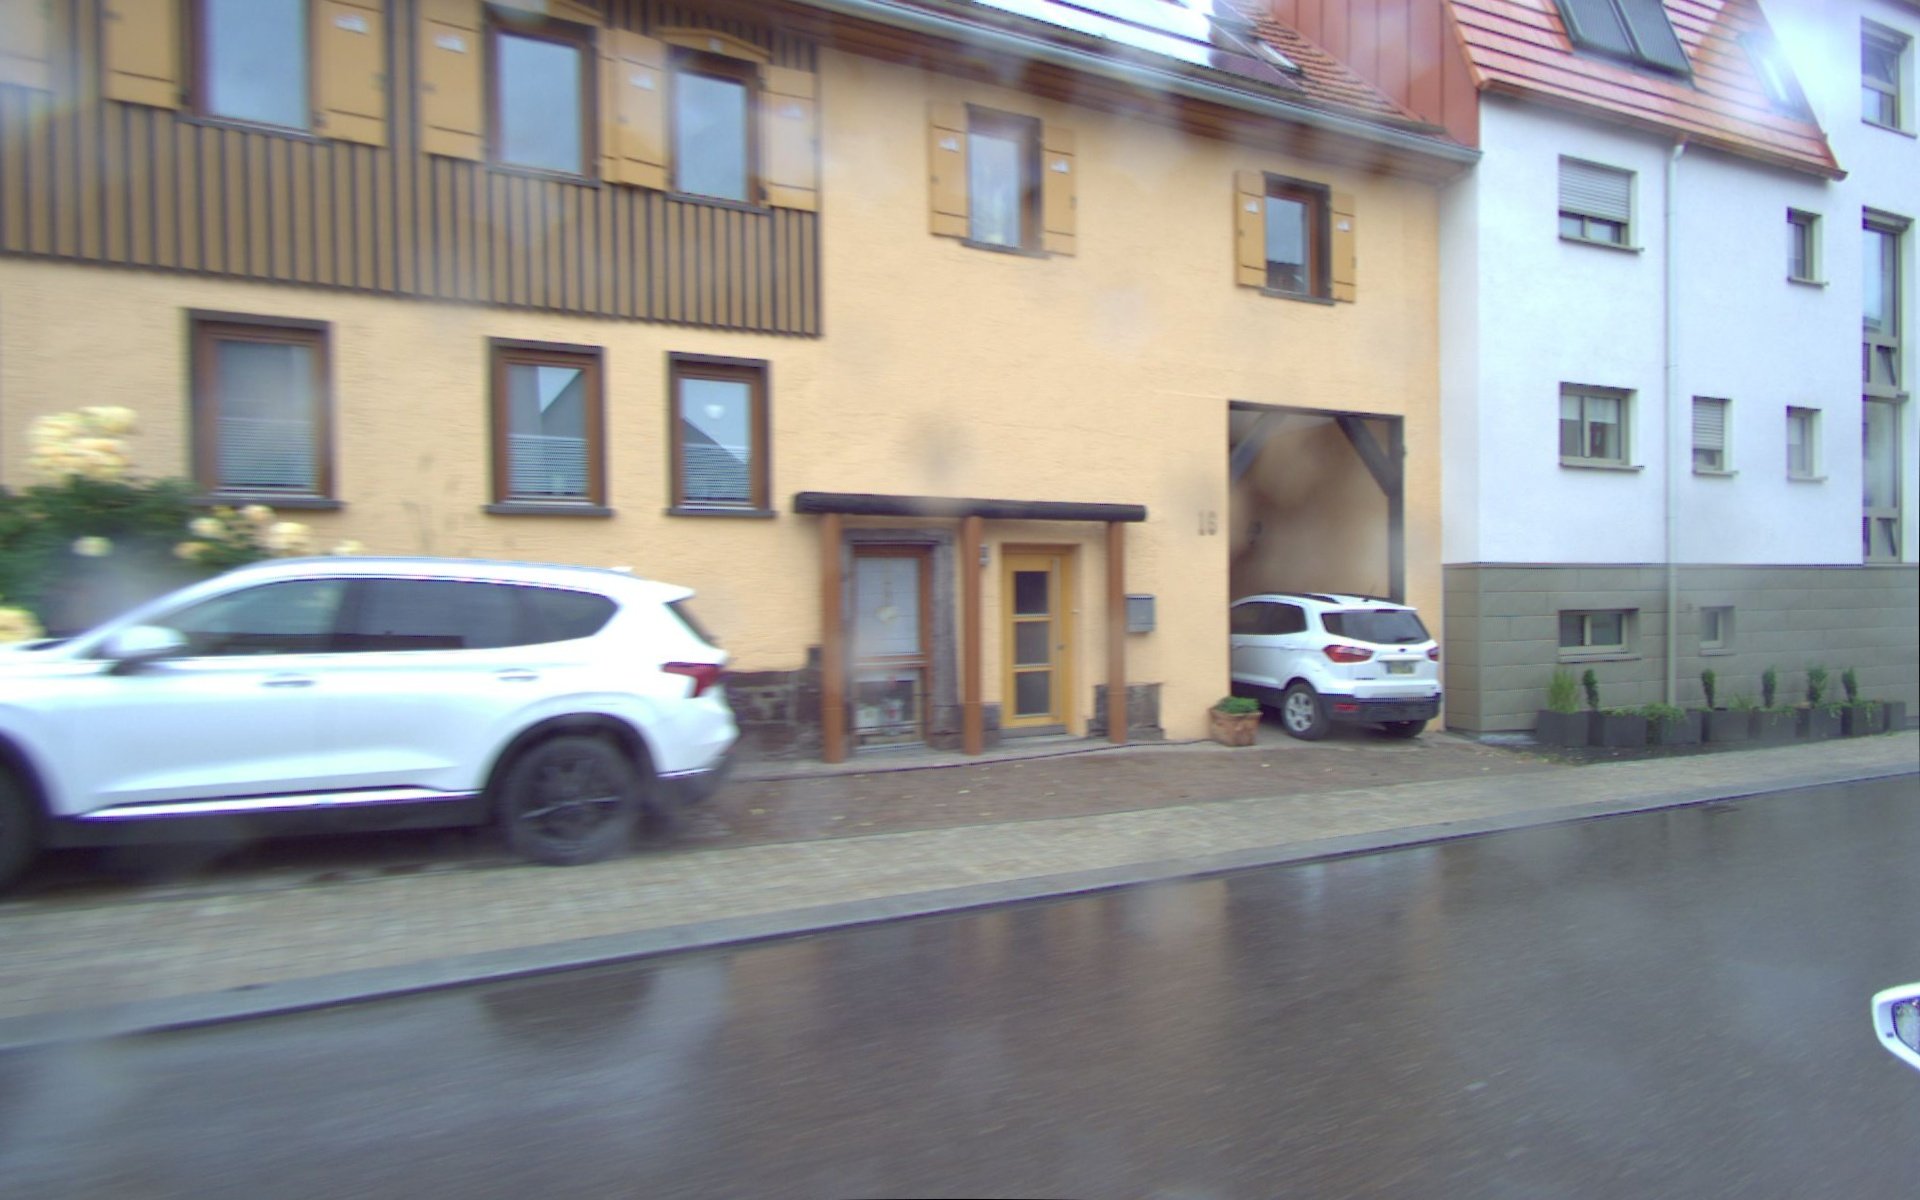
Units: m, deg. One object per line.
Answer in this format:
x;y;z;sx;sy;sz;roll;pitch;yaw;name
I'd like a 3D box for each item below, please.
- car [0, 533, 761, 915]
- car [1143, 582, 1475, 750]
-3.636;0.595;5.893;4.554;1.728;1.808;1;-1;-25;car
4.288;0.710;13.062;1.851;1.693;3.977;1;2;-23;car
